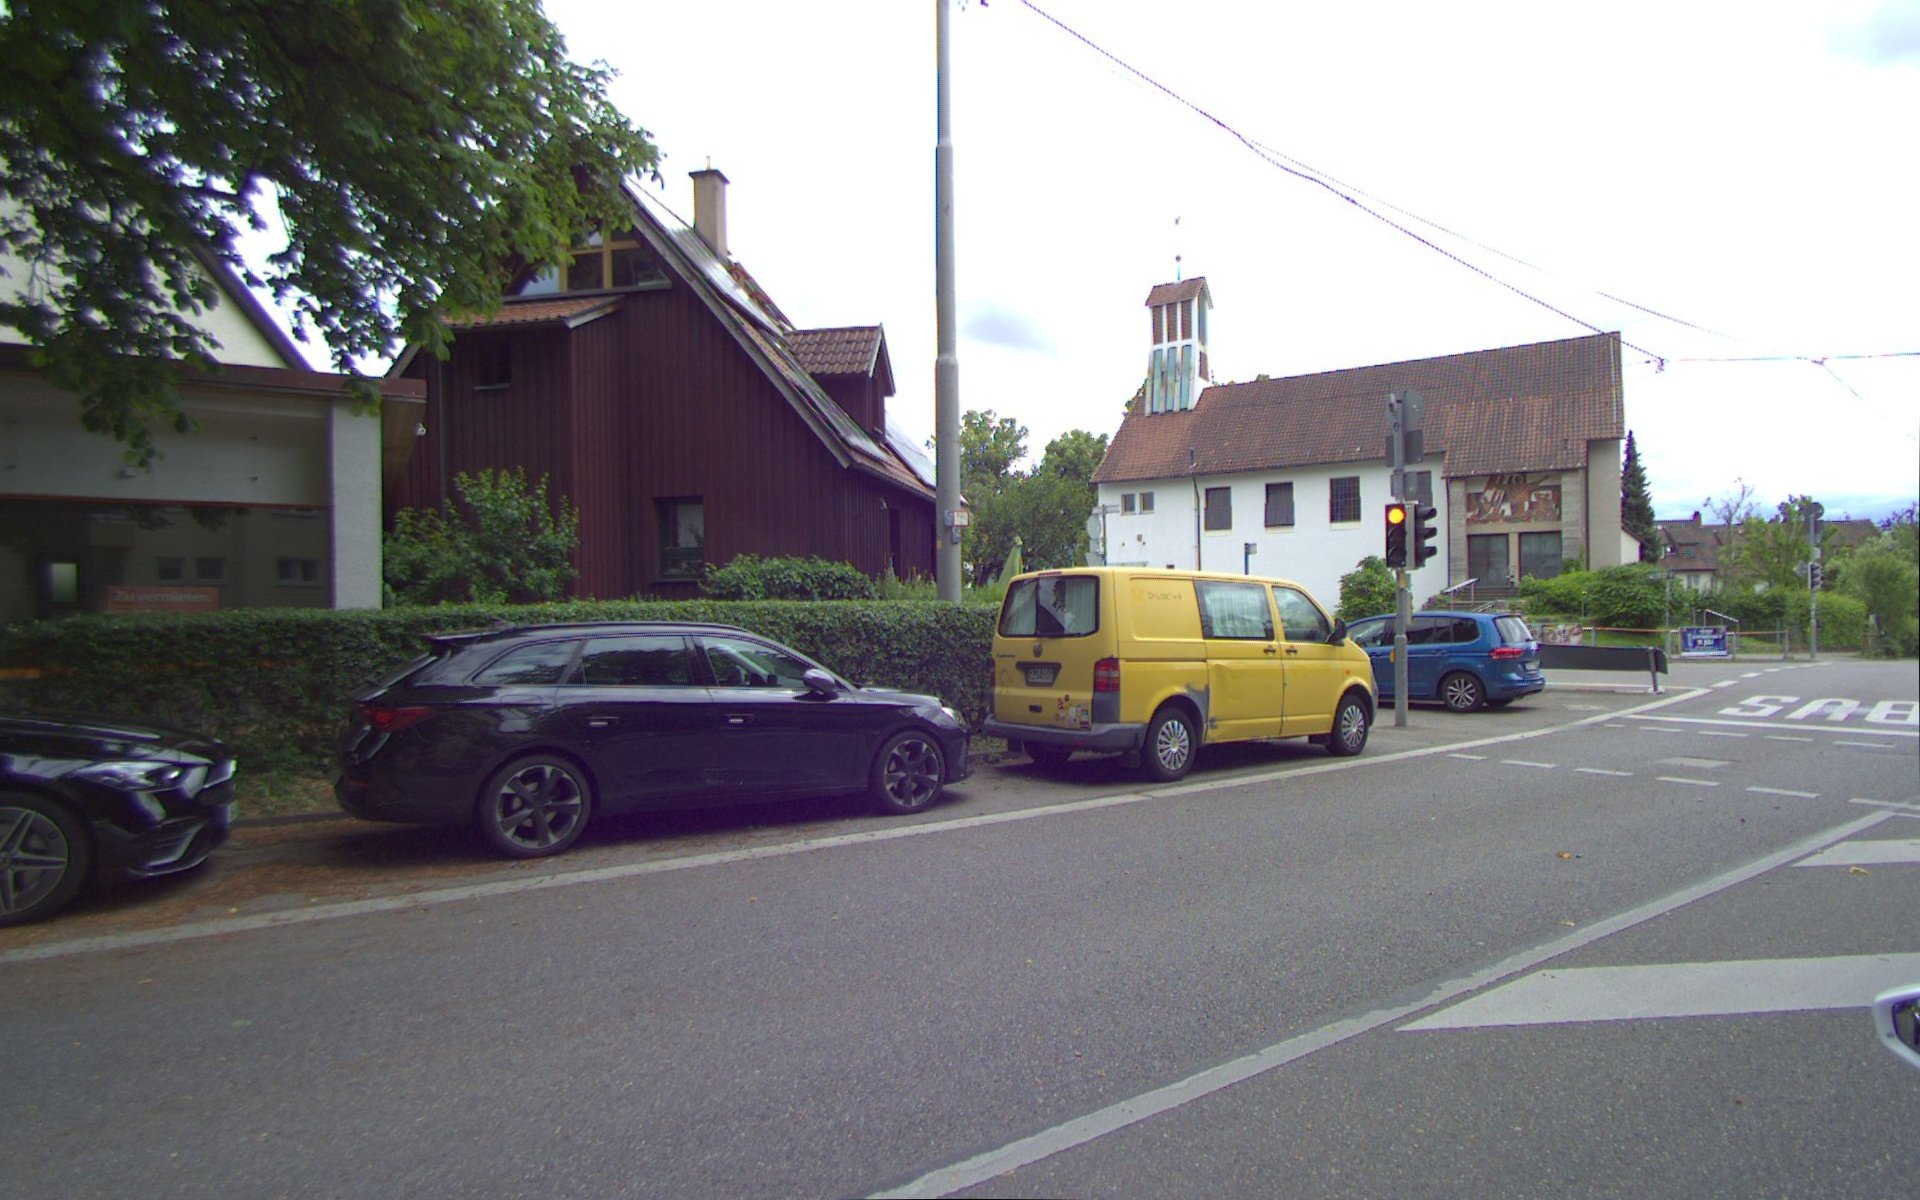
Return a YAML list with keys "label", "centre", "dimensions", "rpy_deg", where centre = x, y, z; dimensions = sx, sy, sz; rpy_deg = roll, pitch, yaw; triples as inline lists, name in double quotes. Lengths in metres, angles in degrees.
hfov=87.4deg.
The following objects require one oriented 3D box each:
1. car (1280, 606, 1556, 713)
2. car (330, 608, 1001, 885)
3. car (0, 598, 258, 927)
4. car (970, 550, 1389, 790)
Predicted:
- label: "car"
  centre: [7.812, 0.989, 17.365]
  dimensions: [1.806, 1.632, 3.948]
  rpy_deg: [1, -3, -44]
- label: "car"
  centre: [-1.998, 0.844, 7.440]
  dimensions: [4.494, 1.505, 1.681]
  rpy_deg: [1, -2, -34]
- label: "car"
  centre: [-6.215, 0.762, 4.756]
  dimensions: [4.561, 1.520, 1.984]
  rpy_deg: [1, -2, -31]
- label: "car"
  centre: [2.459, 0.646, 10.683]
  dimensions: [4.523, 2.040, 1.870]
  rpy_deg: [1, -2, -37]
